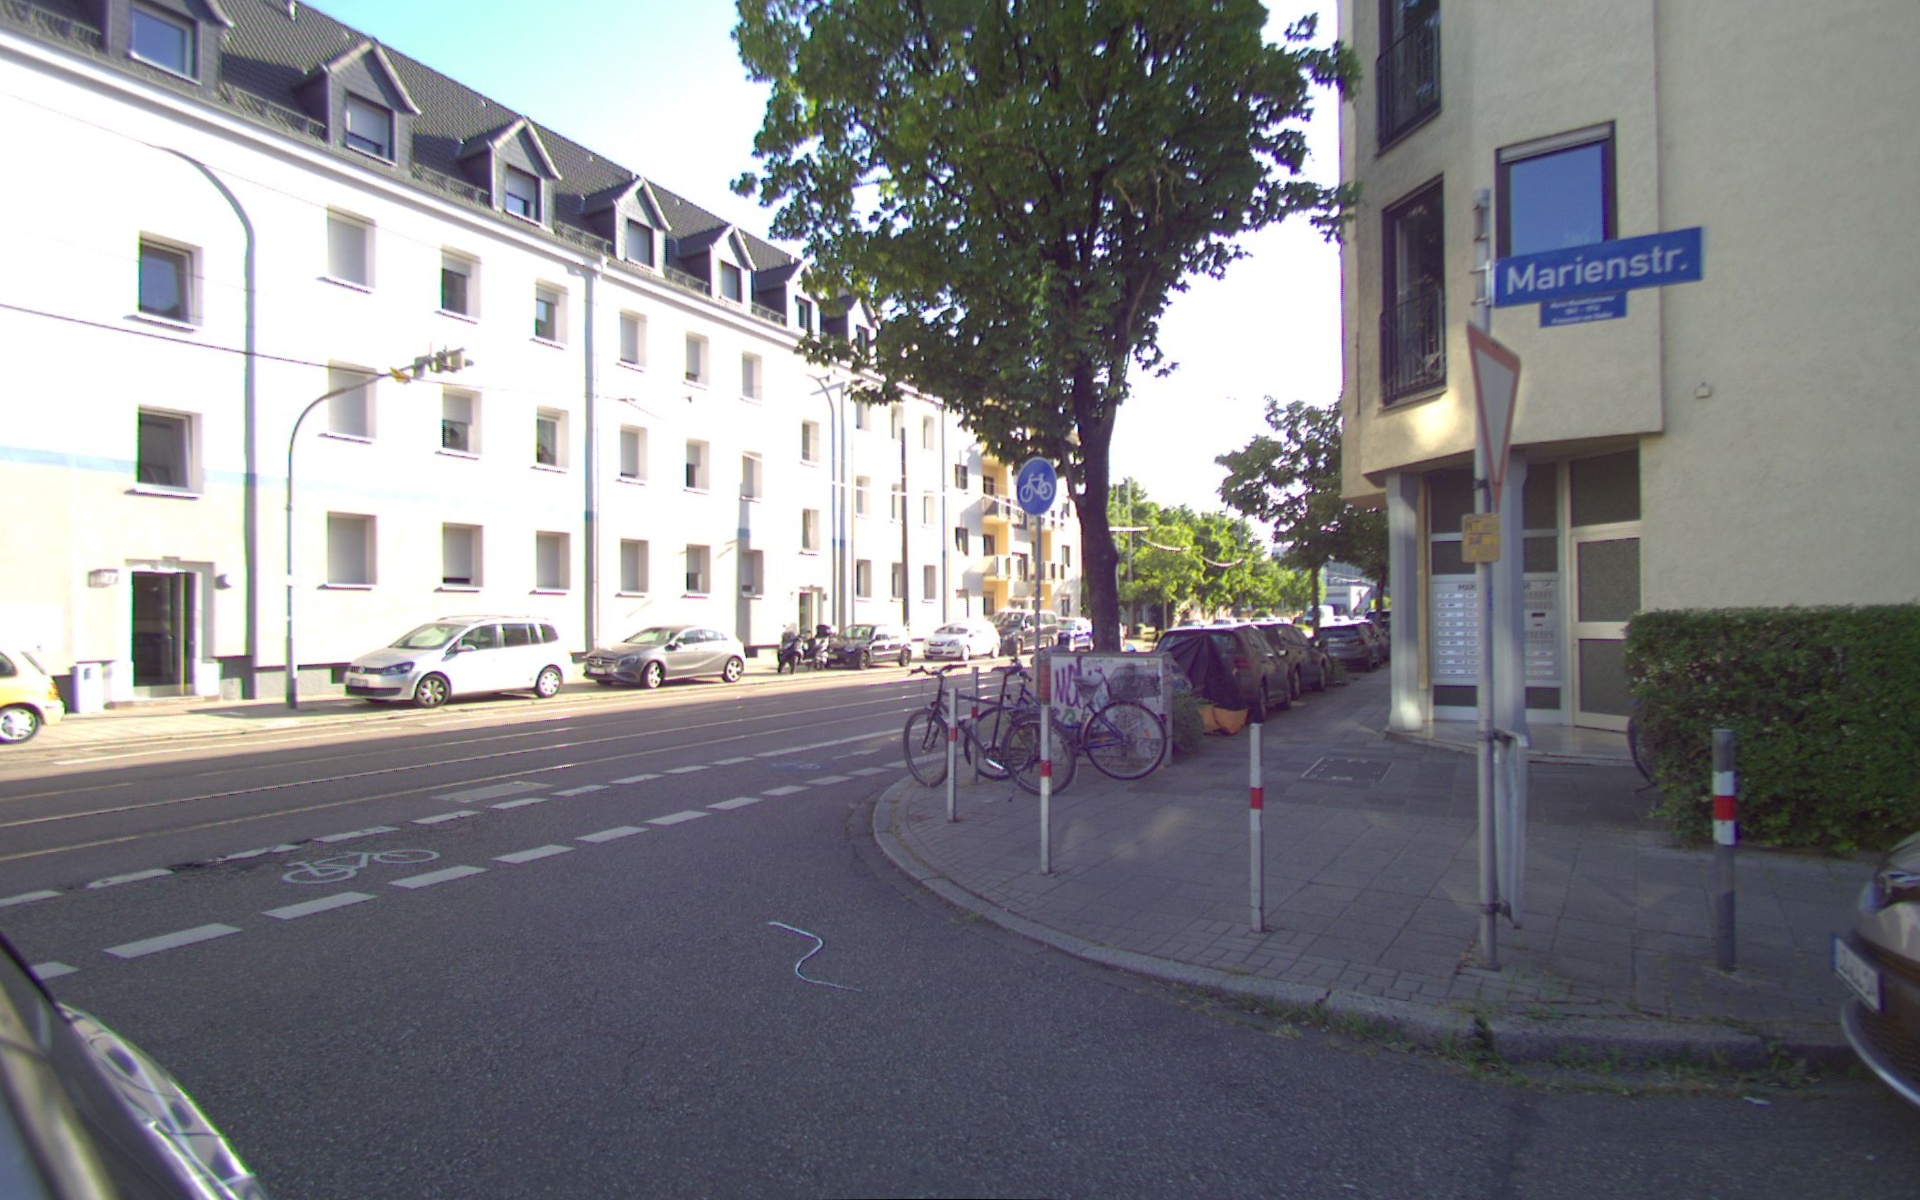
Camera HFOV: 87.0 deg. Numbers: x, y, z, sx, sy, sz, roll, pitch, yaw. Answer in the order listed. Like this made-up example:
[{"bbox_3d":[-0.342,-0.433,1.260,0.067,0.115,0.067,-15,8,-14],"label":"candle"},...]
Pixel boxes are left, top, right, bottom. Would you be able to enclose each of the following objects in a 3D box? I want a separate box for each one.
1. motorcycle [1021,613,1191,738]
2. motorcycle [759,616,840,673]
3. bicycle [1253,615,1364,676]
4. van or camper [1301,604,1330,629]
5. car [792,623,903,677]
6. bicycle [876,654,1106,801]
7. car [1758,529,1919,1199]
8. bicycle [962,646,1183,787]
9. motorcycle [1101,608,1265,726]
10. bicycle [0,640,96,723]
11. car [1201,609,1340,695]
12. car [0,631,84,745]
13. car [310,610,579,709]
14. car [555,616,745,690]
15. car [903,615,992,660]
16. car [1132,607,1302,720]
[{"bbox_3d":[1.801,0.903,12.530,1.961,1.458,0.715,-1,-2,22],"label":"motorcycle"},{"bbox_3d":[-4.607,1.254,29.260,0.805,1.533,2.681,2,0,29],"label":"motorcycle"},{"bbox_3d":[7.945,1.039,23.129,2.290,1.344,0.693,-1,-2,29],"label":"bicycle"},{"bbox_3d":[39.625,1.825,112.683,2.084,2.583,5.635,-2,-1,30],"label":"van or camper"},{"bbox_3d":[-3.545,1.544,32.631,1.607,1.583,3.865,0,-1,29],"label":"car"},{"bbox_3d":[0.231,1.011,8.456,1.876,1.093,0.589,-1,-2,31],"label":"bicycle"},{"bbox_3d":[4.335,0.683,2.030,3.983,1.672,1.890,-1,-3,29],"label":"car"},{"bbox_3d":[0.947,0.953,8.713,1.805,1.093,0.589,-1,-2,31],"label":"bicycle"},{"bbox_3d":[2.909,0.848,13.203,1.961,1.458,0.830,-1,-2,22],"label":"motorcycle"},{"bbox_3d":[-14.748,1.232,15.312,1.094,1.206,2.306,-1,-2,27],"label":"bicycle"},{"bbox_3d":[6.452,0.996,20.667,1.763,1.554,4.686,-2,-2,29],"label":"car"},{"bbox_3d":[-13.706,1.159,12.464,1.511,1.441,4.162,0,0,27],"label":"car"},{"bbox_3d":[-9.872,1.066,19.836,1.751,1.678,4.586,0,-1,25],"label":"car"},{"bbox_3d":[-7.361,1.201,24.459,1.862,1.566,4.322,0,-1,29],"label":"car"},{"bbox_3d":[-0.415,1.387,38.229,1.797,1.583,3.867,0,-1,27],"label":"car"},{"bbox_3d":[4.218,0.960,16.163,1.733,1.554,4.090,-1,-2,28],"label":"car"}]
